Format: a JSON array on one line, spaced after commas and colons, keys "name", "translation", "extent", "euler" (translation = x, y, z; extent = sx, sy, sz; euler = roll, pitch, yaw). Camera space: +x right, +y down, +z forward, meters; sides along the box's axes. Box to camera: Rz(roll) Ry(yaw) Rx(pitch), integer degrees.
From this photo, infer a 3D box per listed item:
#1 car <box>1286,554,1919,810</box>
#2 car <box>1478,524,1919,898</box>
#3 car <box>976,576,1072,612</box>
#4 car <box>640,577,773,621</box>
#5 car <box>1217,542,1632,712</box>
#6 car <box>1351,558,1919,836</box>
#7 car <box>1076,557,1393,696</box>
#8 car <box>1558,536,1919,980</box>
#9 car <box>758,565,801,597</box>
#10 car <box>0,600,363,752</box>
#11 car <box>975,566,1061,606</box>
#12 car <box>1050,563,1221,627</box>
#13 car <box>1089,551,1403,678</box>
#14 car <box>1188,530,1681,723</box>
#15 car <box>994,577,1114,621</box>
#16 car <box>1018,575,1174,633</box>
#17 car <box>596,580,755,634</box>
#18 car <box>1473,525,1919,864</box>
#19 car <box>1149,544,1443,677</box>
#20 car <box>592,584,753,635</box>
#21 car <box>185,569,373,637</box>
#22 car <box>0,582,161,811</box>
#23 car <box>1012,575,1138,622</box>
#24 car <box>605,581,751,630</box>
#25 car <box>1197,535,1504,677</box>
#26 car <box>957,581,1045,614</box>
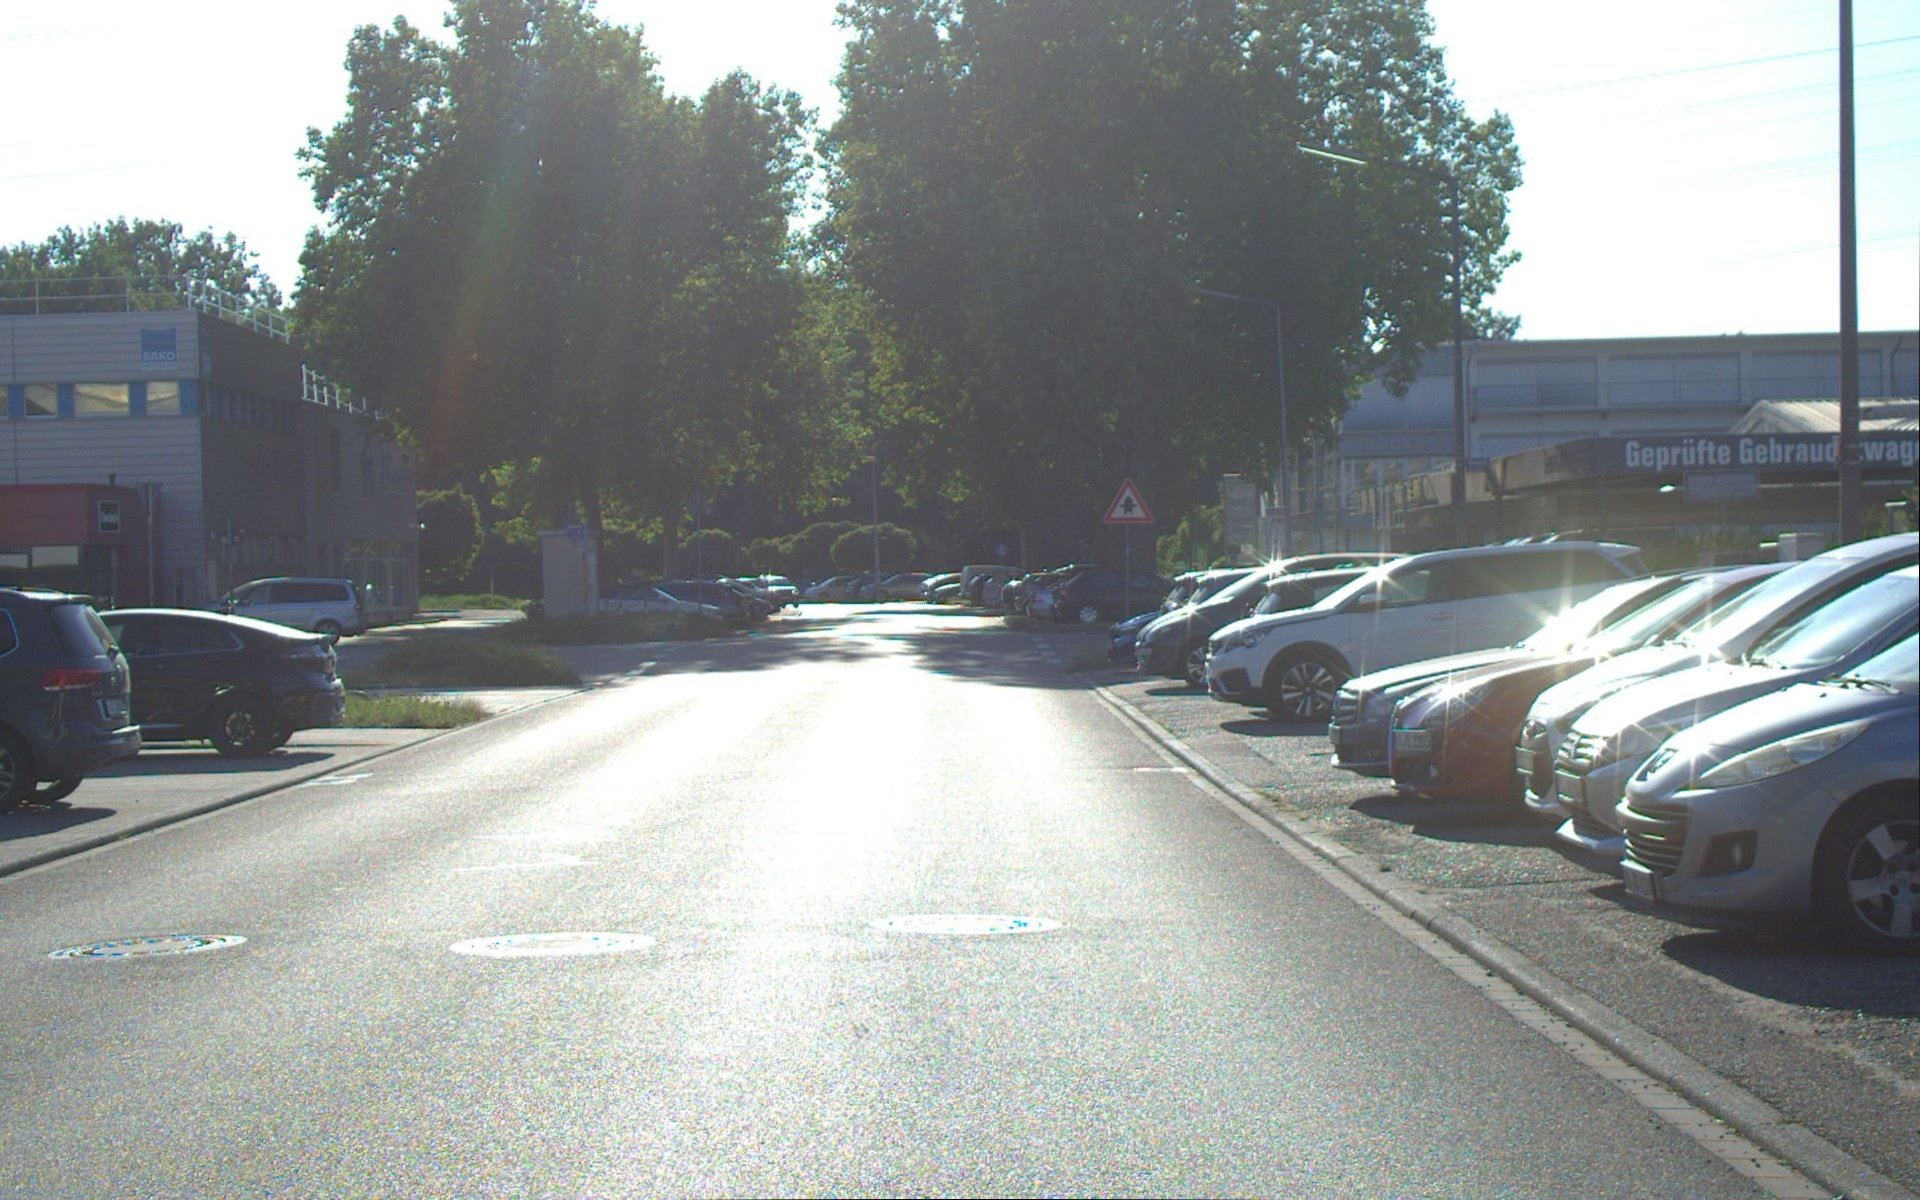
[{"name": "car", "translation": [4.550, 0.510, 23.054], "extent": [4.436, 1.431, 2.135], "euler": [-3, 0, -1]}, {"name": "car", "translation": [4.755, 0.450, 16.419], "extent": [4.108, 1.612, 2.059], "euler": [-2, 0, -4]}, {"name": "car", "translation": [2.703, -0.237, 146.124], "extent": [3.987, 1.411, 1.827], "euler": [-2, 0, 0]}, {"name": "car", "translation": [-8.754, -0.043, 118.822], "extent": [4.415, 1.512, 2.000], "euler": [0, 0, 1]}, {"name": "car", "translation": [5.101, 0.290, 38.158], "extent": [4.248, 1.618, 1.921], "euler": [-3, 0, -1]}, {"name": "car", "translation": [4.631, 0.561, 20.801], "extent": [4.241, 1.599, 1.746], "euler": [0, 0, -5]}, {"name": "car", "translation": [3.636, 0.348, 45.130], "extent": [3.988, 1.608, 1.999], "euler": [-3, 0, 7]}, {"name": "car", "translation": [4.594, 0.504, 13.617], "extent": [3.986, 1.582, 1.868], "euler": [-3, 0, -4]}, {"name": "car", "translation": [-9.196, -0.962, 175.569], "extent": [1.993, 1.603, 4.000], "euler": [1, 0, 0]}, {"name": "car", "translation": [-8.231, 0.736, 34.143], "extent": [4.313, 1.455, 2.202], "euler": [0, 0, -3]}, {"name": "car", "translation": [2.740, -0.653, 162.246], "extent": [3.987, 1.771, 1.827], "euler": [-2, 0, 0]}, {"name": "car", "translation": [4.235, -0.124, 83.303], "extent": [3.987, 1.411, 2.000], "euler": [-2, 0, 0]}, {"name": "car", "translation": [4.366, 0.218, 52.938], "extent": [4.523, 1.667, 1.753], "euler": [-3, 0, -3]}, {"name": "car", "translation": [4.779, 0.263, 35.141], "extent": [4.554, 1.592, 2.202], "euler": [-4, 0, -3]}, {"name": "car", "translation": [3.203, -0.039, 117.506], "extent": [3.987, 1.376, 1.827], "euler": [-2, 0, 0]}, {"name": "car", "translation": [3.568, 0.110, 90.645], "extent": [3.987, 1.411, 1.827], "euler": [-2, 0, 0]}, {"name": "car", "translation": [-8.062, 0.199, 97.793], "extent": [4.415, 1.512, 2.000], "euler": [0, 0, -2]}, {"name": "car", "translation": [5.014, 0.486, 18.630], "extent": [4.108, 1.734, 1.884], "euler": [0, 0, -4]}, {"name": "car", "translation": [4.892, 0.145, 50.381], "extent": [3.987, 1.647, 1.743], "euler": [-4, 0, -2]}, {"name": "car", "translation": [-8.004, 0.257, 95.648], "extent": [4.414, 1.398, 2.000], "euler": [0, 0, -5]}, {"name": "car", "translation": [-17.660, 0.074, 89.122], "extent": [4.628, 1.735, 2.001], "euler": [0, 0, -16]}, {"name": "car", "translation": [-8.324, 0.695, 25.759], "extent": [4.230, 1.650, 2.202], "euler": [0, 0, -3]}, {"name": "car", "translation": [3.708, -0.055, 111.526], "extent": [3.987, 1.411, 1.827], "euler": [-2, 0, 0]}, {"name": "car", "translation": [-8.859, 0.163, 108.282], "extent": [4.415, 1.512, 2.000], "euler": [0, 0, 1]}, {"name": "car", "translation": [5.433, 0.080, 48.173], "extent": [3.987, 1.647, 1.801], "euler": [-4, 0, 0]}, {"name": "car", "translation": [1.871, -0.100, 158.651], "extent": [3.987, 1.411, 1.827], "euler": [-2, 0, 0]}]
